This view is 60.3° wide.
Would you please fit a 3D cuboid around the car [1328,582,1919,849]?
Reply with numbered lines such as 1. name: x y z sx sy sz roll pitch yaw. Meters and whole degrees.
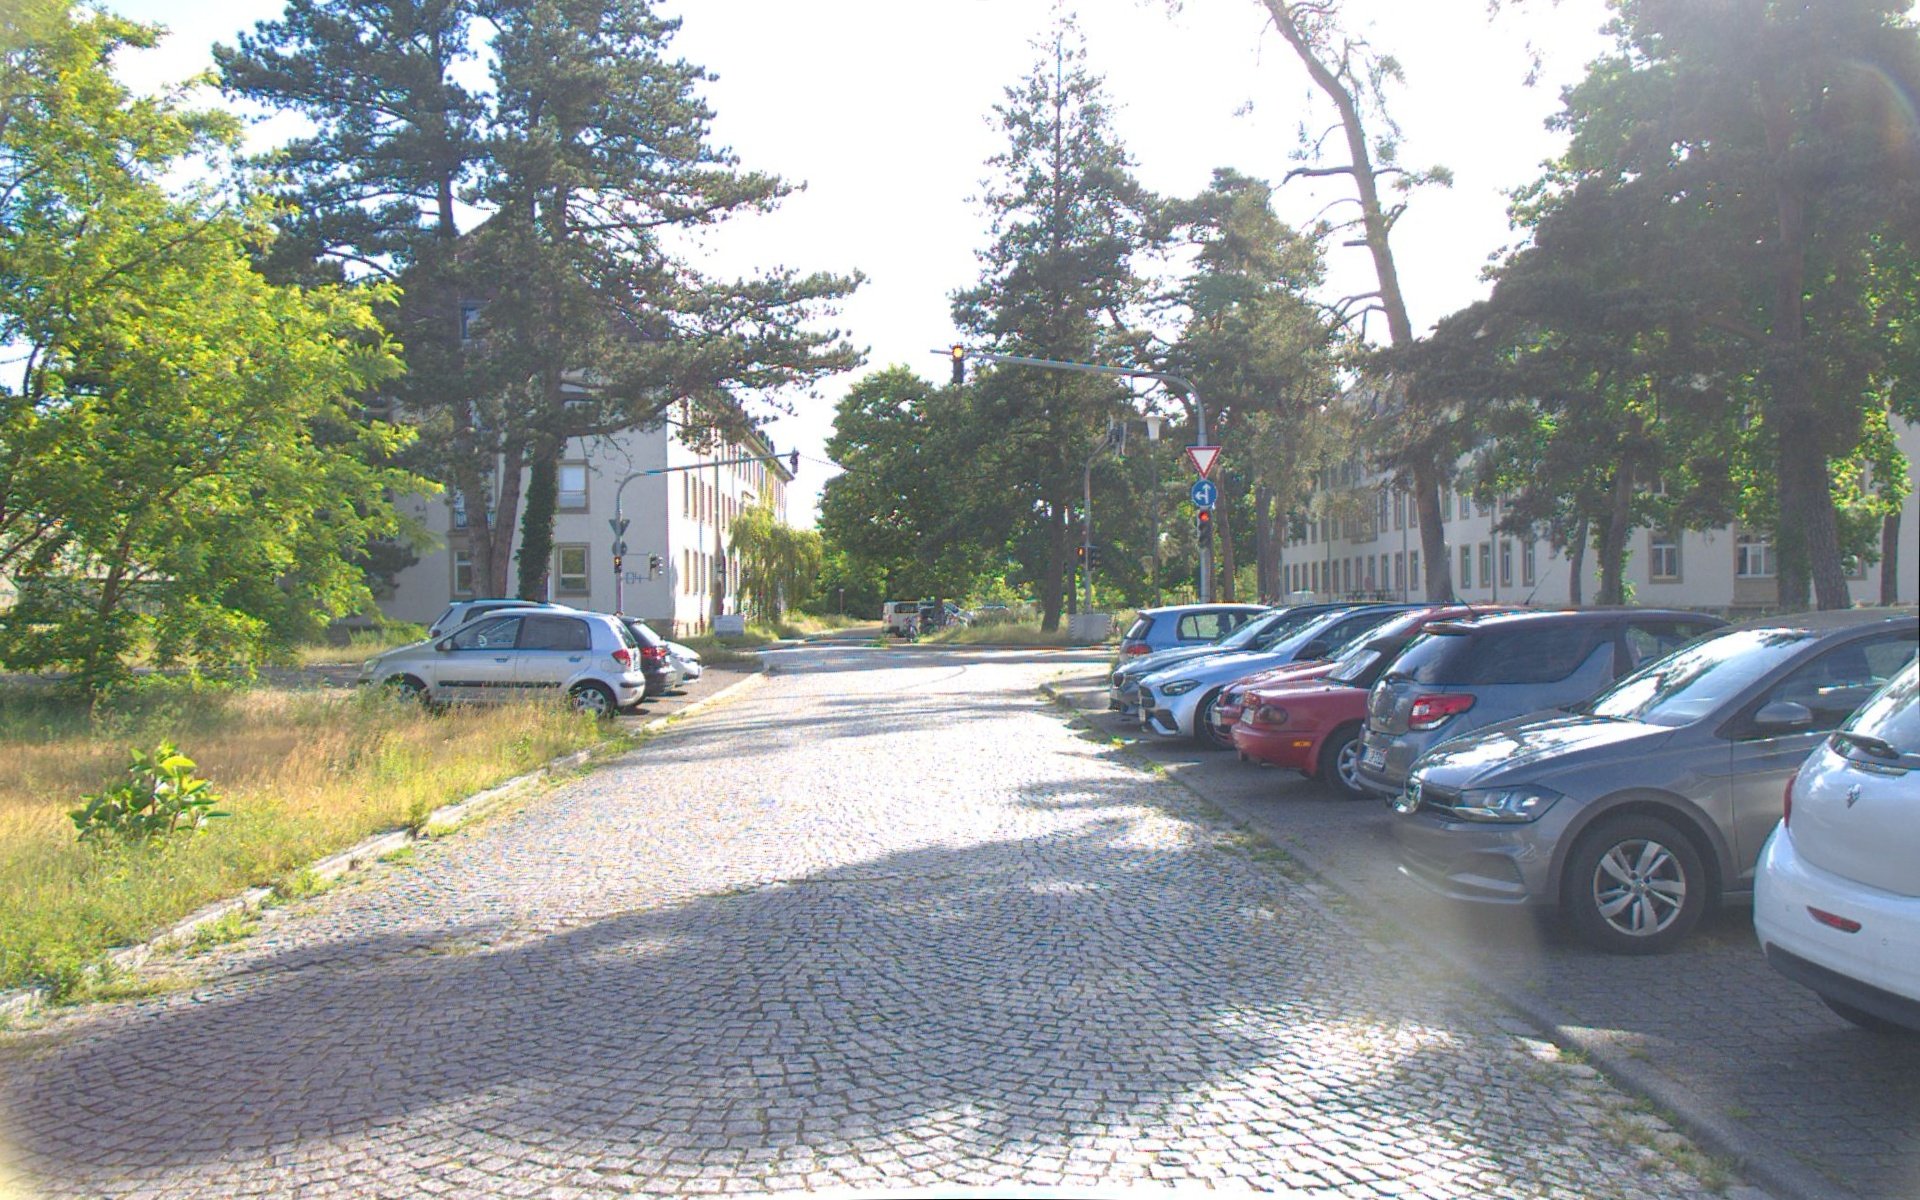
1. car: 4.510 0.699 11.047 3.633 1.474 1.816 -2 0 -2

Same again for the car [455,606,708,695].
1. car: -6.830 0.904 30.230 4.249 1.494 1.829 1 0 -5

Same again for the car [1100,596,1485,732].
1. car: 4.104 0.767 20.834 4.467 1.440 1.636 -3 0 -1

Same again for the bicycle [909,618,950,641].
1. bicycle: -1.398 1.338 75.778 1.804 1.028 0.634 1 -1 -9

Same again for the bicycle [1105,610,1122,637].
1. bicycle: 5.610 0.861 60.445 0.295 0.977 1.584 1 -1 -5

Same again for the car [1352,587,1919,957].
1. car: 4.001 0.730 8.161 3.632 1.474 1.856 -2 0 -1

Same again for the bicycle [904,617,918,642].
1. bicycle: -2.039 1.212 68.692 0.458 1.028 1.584 1 -1 -5

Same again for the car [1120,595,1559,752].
1. car: 4.050 0.764 18.116 4.342 1.440 1.780 -3 0 -1

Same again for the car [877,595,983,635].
1. car: -1.652 0.815 90.372 5.440 2.049 1.988 2 -1 -20

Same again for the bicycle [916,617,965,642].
1. bicycle: -0.850 1.294 72.407 2.070 1.028 0.619 1 -1 -9

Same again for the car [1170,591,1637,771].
1. car: 4.192 0.738 16.038 4.044 1.474 1.636 -3 0 -1

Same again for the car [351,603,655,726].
1. car: -6.085 0.847 22.360 3.673 1.513 1.644 1 0 -5

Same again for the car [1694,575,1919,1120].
1. car: 4.561 0.647 5.257 3.632 1.561 1.760 -2 0 -1

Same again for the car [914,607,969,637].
1. car: -0.998 1.173 86.802 2.728 1.492 1.669 1 -1 -6

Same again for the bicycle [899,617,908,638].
1. bicycle: -2.786 1.372 81.918 0.409 1.028 1.483 1 -1 -1

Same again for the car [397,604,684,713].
1. car: -6.239 0.858 24.953 3.909 1.506 1.801 1 0 -5

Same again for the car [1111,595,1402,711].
1. car: 4.171 0.727 23.617 3.804 1.440 1.636 -2 0 -1

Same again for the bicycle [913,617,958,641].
1. bicycle: -1.098 1.316 74.032 1.968 1.028 0.630 1 -1 -9

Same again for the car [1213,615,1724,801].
1. car: 4.066 0.838 13.633 3.632 1.244 1.746 -3 0 -1

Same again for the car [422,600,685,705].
1. car: -6.745 0.851 27.809 4.000 1.621 1.883 1 0 -5
